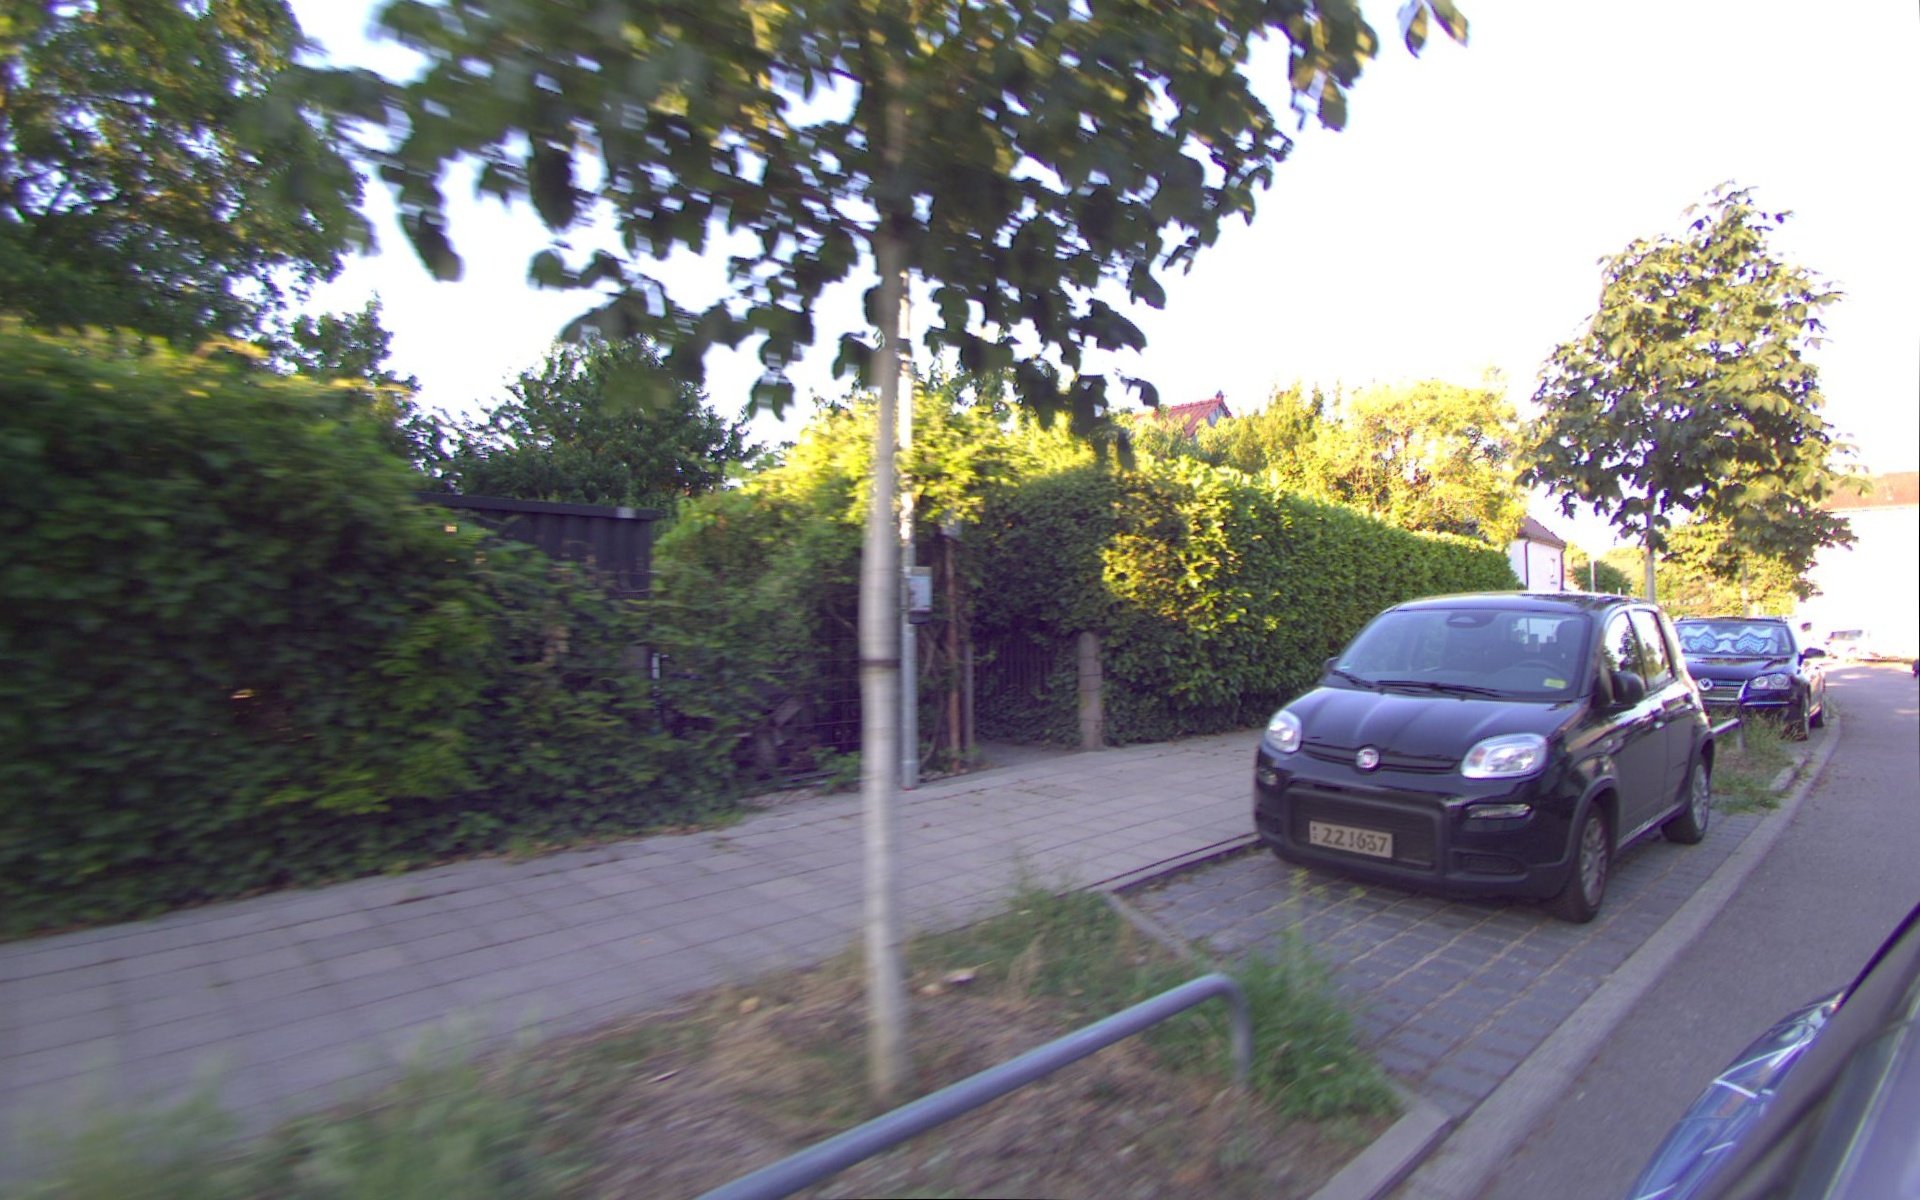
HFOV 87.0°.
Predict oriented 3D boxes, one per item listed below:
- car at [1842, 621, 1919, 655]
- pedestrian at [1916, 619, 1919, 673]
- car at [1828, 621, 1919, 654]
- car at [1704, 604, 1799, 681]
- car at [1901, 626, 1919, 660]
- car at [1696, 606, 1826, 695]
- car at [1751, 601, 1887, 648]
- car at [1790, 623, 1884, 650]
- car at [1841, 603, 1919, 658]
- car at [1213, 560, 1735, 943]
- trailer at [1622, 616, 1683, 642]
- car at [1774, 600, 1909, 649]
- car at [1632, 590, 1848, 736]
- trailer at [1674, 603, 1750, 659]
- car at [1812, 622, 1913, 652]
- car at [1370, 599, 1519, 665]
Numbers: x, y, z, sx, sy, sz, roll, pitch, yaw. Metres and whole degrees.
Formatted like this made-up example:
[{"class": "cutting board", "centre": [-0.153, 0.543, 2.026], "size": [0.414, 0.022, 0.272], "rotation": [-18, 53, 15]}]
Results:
[{"class": "car", "centre": [48.458, 1.942, 52.168], "size": [4.102, 1.611, 1.730], "rotation": [-4, -3, 29]}, {"class": "pedestrian", "centre": [33.770, 1.585, 34.840], "size": [0.890, 1.874, 0.851], "rotation": [0, -3, 17]}, {"class": "car", "centre": [49.280, 2.003, 53.959], "size": [4.099, 1.611, 1.731], "rotation": [-4, -3, 27]}, {"class": "car", "centre": [23.844, 1.251, 30.508], "size": [2.061, 2.122, 4.803], "rotation": [-1, -2, 38]}, {"class": "car", "centre": [46.333, 1.938, 46.882], "size": [3.605, 1.539, 1.689], "rotation": [-3, -3, 28]}, {"class": "car", "centre": [15.729, 0.954, 19.811], "size": [1.739, 1.572, 3.583], "rotation": [-1, -3, 42]}, {"class": "car", "centre": [56.779, 1.635, 67.033], "size": [6.325, 2.748, 2.100], "rotation": [-3, -2, 19]}, {"class": "car", "centre": [53.011, 2.232, 61.245], "size": [3.899, 1.527, 1.773], "rotation": [-2, -2, 27]}, {"class": "car", "centre": [47.803, 1.448, 50.025], "size": [5.858, 2.567, 2.385], "rotation": [-4, -3, 31]}, {"class": "car", "centre": [3.094, 0.623, 5.806], "size": [3.437, 1.529, 1.579], "rotation": [1, -1, -43]}, {"class": "trailer", "centre": [71.160, 2.954, 104.039], "size": [4.760, 2.464, 2.114], "rotation": [-3, -2, 28]}, {"class": "car", "centre": [54.879, 1.583, 63.180], "size": [5.780, 2.749, 2.033], "rotation": [-4, -4, 24]}, {"class": "car", "centre": [10.194, 0.753, 13.096], "size": [1.710, 1.570, 4.475], "rotation": [-2, -3, 44]}, {"class": "trailer", "centre": [31.964, 1.314, 43.171], "size": [2.054, 2.240, 5.163], "rotation": [-1, -2, 31]}, {"class": "car", "centre": [49.841, 2.055, 55.996], "size": [3.910, 1.611, 1.726], "rotation": [-3, -3, 34]}, {"class": "car", "centre": [21.262, 1.454, 44.550], "size": [5.555, 2.728, 2.022], "rotation": [-2, -5, 40]}]
